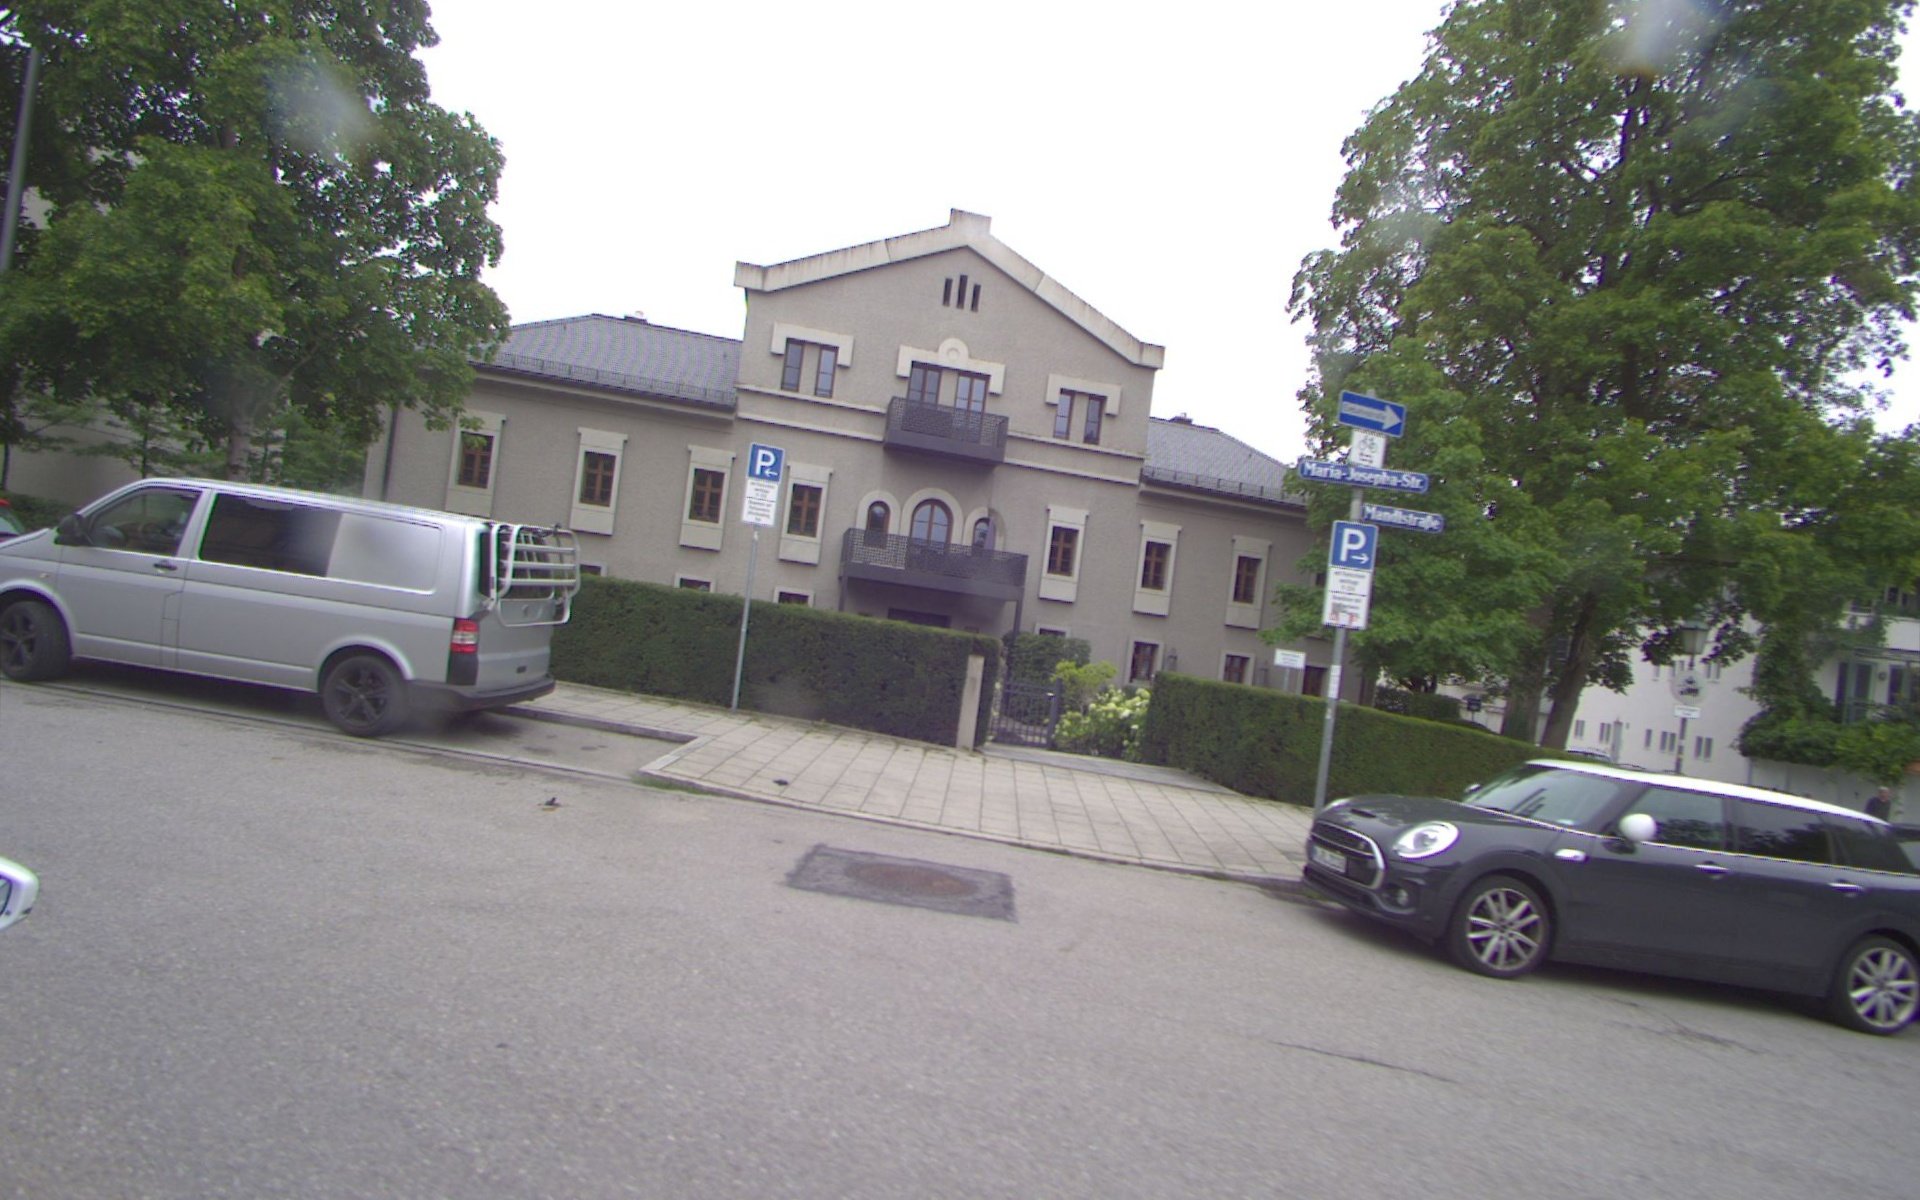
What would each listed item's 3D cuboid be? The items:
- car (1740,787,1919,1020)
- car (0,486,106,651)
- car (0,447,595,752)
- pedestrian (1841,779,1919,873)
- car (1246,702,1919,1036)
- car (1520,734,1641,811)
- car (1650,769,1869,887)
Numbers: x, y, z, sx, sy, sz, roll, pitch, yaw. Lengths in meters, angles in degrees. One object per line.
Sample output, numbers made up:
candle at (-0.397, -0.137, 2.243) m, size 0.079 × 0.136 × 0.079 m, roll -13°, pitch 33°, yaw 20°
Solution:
car at (8.622, 2.613, 8.028) m, size 3.962 × 1.461 × 1.891 m, roll 11°, pitch -5°, yaw -19°
car at (-11.440, -0.625, 9.648) m, size 4.750 × 1.525 × 1.875 m, roll 9°, pitch 1°, yaw -1°
car at (-6.338, -0.060, 9.367) m, size 4.978 × 1.928 × 1.940 m, roll 8°, pitch 1°, yaw 2°
pedestrian at (22.377, 5.444, 24.353) m, size 0.933 × 1.953 × 1.234 m, roll 8°, pitch -2°, yaw 14°
car at (4.511, 1.833, 7.228) m, size 4.196 × 1.461 × 1.899 m, roll 10°, pitch -4°, yaw -5°
car at (19.019, 5.231, 31.047) m, size 1.905 × 1.681 × 4.020 m, roll 8°, pitch -2°, yaw 15°
car at (16.223, 4.567, 20.710) m, size 1.905 × 1.463 × 4.020 m, roll 8°, pitch -2°, yaw 15°
